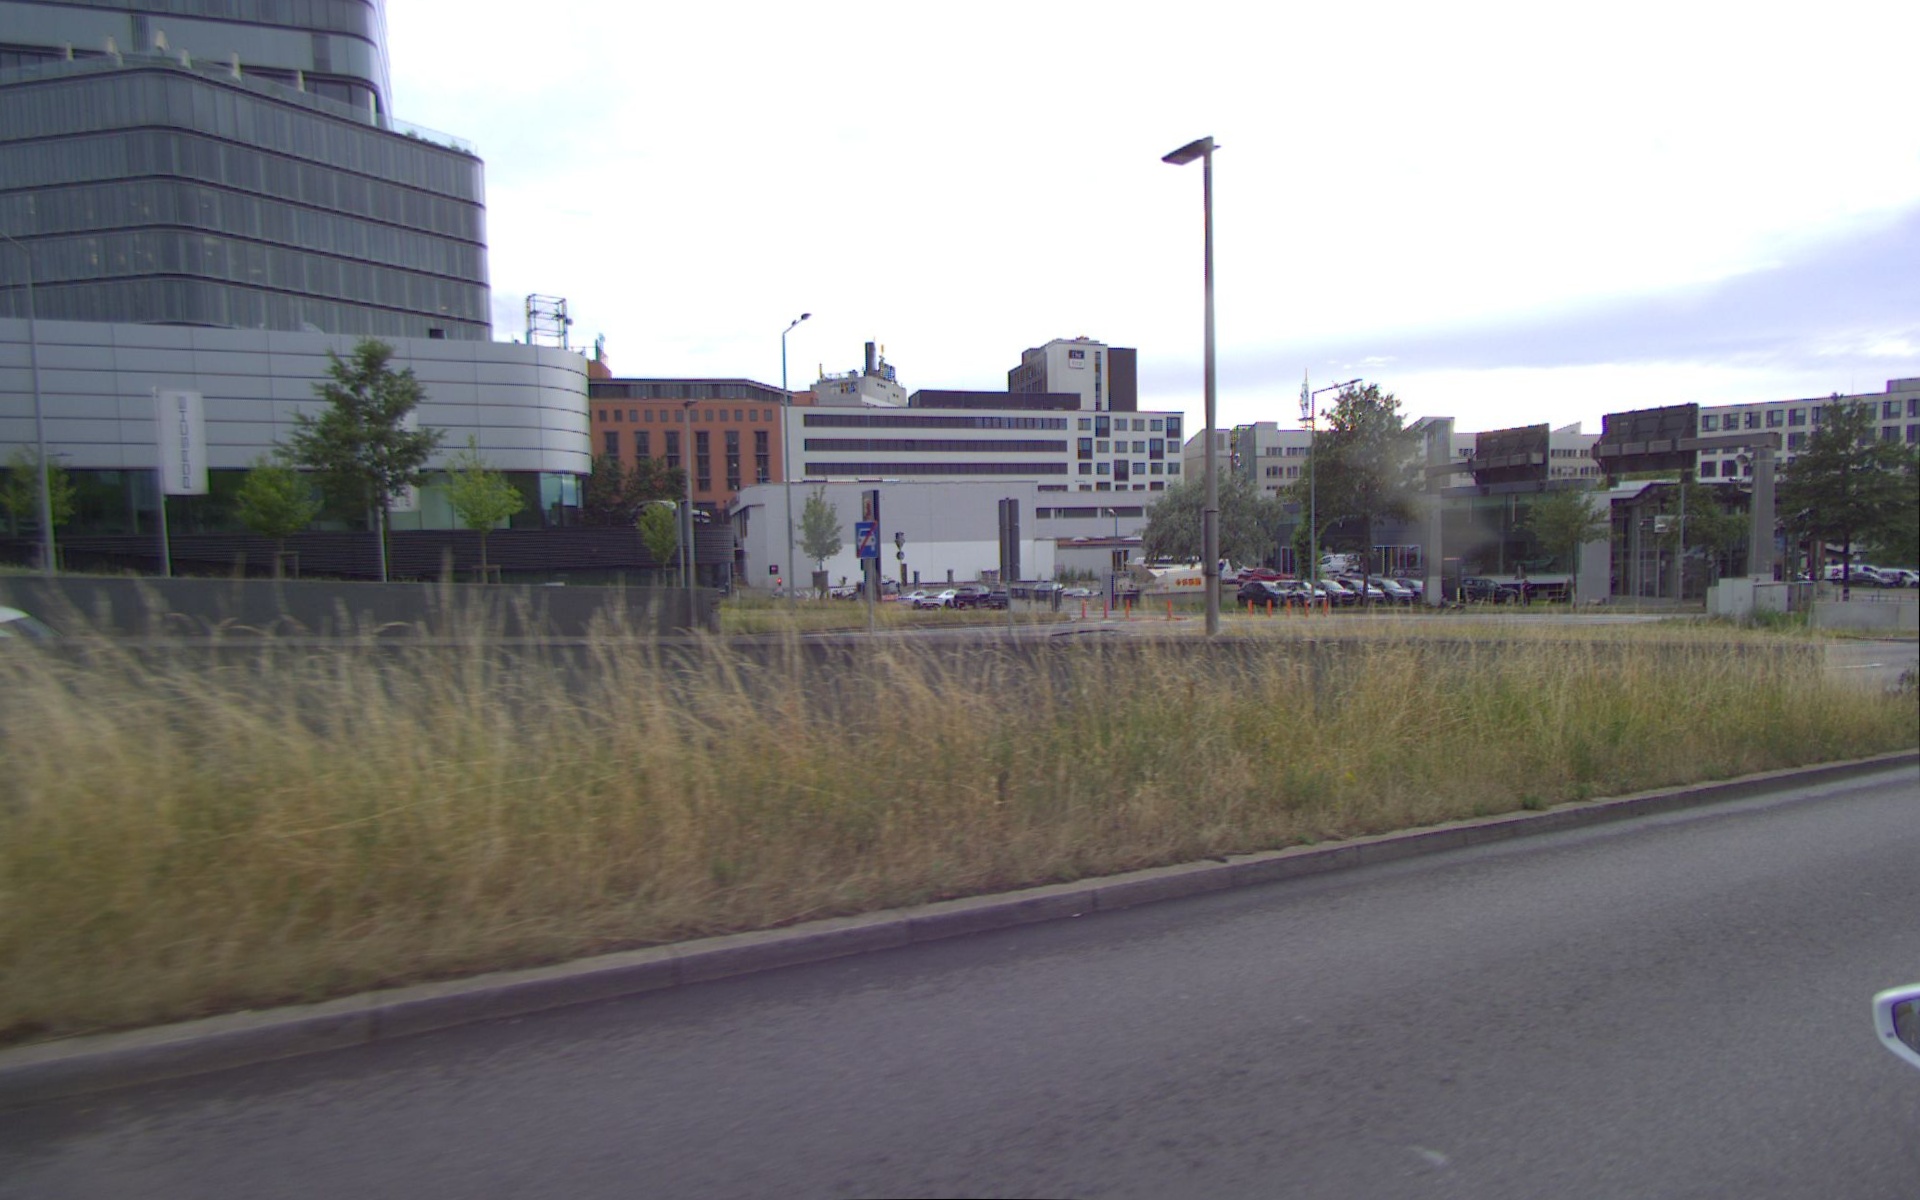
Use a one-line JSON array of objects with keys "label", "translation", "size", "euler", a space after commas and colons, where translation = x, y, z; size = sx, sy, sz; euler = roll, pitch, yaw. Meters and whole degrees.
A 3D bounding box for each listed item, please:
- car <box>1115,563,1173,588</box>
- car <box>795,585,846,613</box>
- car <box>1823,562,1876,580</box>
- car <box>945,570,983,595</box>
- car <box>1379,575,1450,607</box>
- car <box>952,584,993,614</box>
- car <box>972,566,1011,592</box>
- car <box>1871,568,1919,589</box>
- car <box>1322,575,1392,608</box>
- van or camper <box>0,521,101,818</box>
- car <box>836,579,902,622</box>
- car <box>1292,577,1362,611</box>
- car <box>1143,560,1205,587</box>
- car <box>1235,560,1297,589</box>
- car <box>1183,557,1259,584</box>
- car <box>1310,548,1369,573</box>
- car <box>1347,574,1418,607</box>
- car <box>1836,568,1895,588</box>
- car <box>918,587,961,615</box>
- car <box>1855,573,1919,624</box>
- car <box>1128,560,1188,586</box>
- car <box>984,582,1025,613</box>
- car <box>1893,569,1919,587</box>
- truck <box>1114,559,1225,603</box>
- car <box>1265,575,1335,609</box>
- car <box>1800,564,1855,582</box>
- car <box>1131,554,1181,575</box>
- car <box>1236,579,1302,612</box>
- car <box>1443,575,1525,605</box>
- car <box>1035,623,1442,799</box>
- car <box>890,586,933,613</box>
[{"label": "car", "translation": [14.054, -1.908, 76.898], "size": [3.936, 1.707, 1.915], "euler": [-2, 5, -17]}, {"label": "car", "translation": [-10.260, -0.121, 73.752], "size": [1.981, 1.707, 3.957], "euler": [-5, 6, -36]}, {"label": "car", "translation": [98.858, -3.217, 111.615], "size": [1.796, 1.674, 3.973], "euler": [-3, 6, -25]}, {"label": "car", "translation": [0.360, -1.470, 82.330], "size": [1.960, 1.729, 3.999], "euler": [1, 5, 19]}, {"label": "car", "translation": [29.041, -0.595, 64.312], "size": [1.895, 1.707, 3.978], "euler": [-3, 6, -21]}, {"label": "car", "translation": [0.960, -0.102, 74.586], "size": [1.960, 1.908, 3.999], "euler": [1, 5, 19]}, {"label": "car", "translation": [2.543, -1.715, 80.131], "size": [1.960, 1.729, 3.999], "euler": [1, 5, 19]}, {"label": "car", "translation": [96.812, -2.220, 103.380], "size": [1.968, 1.902, 3.984], "euler": [-2, 5, -17]}, {"label": "car", "translation": [24.674, -0.541, 62.577], "size": [1.895, 1.707, 3.978], "euler": [-3, 6, -21]}, {"label": "van or camper", "translation": [-10.670, 0.521, 8.007], "size": [5.466, 2.472, 2.193], "euler": [1, 1, -30]}, {"label": "car", "translation": [-6.372, -0.017, 69.739], "size": [2.505, 2.524, 5.107], "euler": [-4, 6, -32]}, {"label": "car", "translation": [22.480, -0.421, 61.640], "size": [1.895, 1.707, 3.978], "euler": [-3, 6, -21]}, {"label": "car", "translation": [15.341, -1.892, 72.004], "size": [3.936, 1.707, 1.915], "euler": [-2, 5, -17]}, {"label": "car", "translation": [22.277, -1.883, 73.237], "size": [3.935, 1.908, 1.900], "euler": [-2, 5, -17]}, {"label": "car", "translation": [20.375, -2.313, 78.439], "size": [5.446, 1.907, 1.992], "euler": [0, 5, -17]}, {"label": "car", "translation": [29.866, -3.152, 79.170], "size": [3.937, 1.807, 1.915], "euler": [3, 7, 38]}, {"label": "car", "translation": [26.691, -0.650, 63.542], "size": [1.895, 1.707, 3.978], "euler": [-3, 6, -21]}, {"label": "car", "translation": [91.964, -2.245, 102.064], "size": [1.972, 1.674, 3.975], "euler": [-3, 6, -24]}, {"label": "car", "translation": [-1.513, 0.042, 75.297], "size": [1.960, 1.707, 3.999], "euler": [1, 5, 19]}, {"label": "car", "translation": [35.576, -0.090, 37.690], "size": [3.500, 1.612, 1.682], "euler": [-3, 6, -25]}, {"label": "car", "translation": [14.732, -2.017, 74.826], "size": [3.936, 1.707, 1.915], "euler": [-2, 5, -17]}, {"label": "car", "translation": [3.282, -0.230, 72.959], "size": [1.960, 1.908, 3.999], "euler": [1, 5, 19]}, {"label": "car", "translation": [101.478, -2.306, 106.005], "size": [1.968, 1.674, 3.984], "euler": [-2, 5, -17]}, {"label": "truck", "translation": [14.242, -1.350, 68.171], "size": [7.299, 2.563, 2.362], "euler": [-3, 6, -21]}, {"label": "car", "translation": [20.475, -0.539, 60.629], "size": [1.895, 1.707, 3.978], "euler": [-3, 6, -21]}, {"label": "car", "translation": [93.607, -2.970, 108.421], "size": [1.972, 1.674, 3.975], "euler": [-3, 6, -24]}, {"label": "car", "translation": [17.198, -3.128, 88.302], "size": [3.936, 1.707, 1.915], "euler": [-2, 5, -17]}, {"label": "car", "translation": [18.379, -0.293, 59.940], "size": [1.674, 1.622, 3.992], "euler": [-3, 6, -21]}, {"label": "car", "translation": [34.438, -0.673, 66.122], "size": [4.416, 1.707, 1.921], "euler": [-1, 5, -4]}, {"label": "car", "translation": [3.371, 1.173, 12.034], "size": [4.685, 1.639, 1.745], "euler": [0, 3, -26]}, {"label": "car", "translation": [-3.678, -0.085, 76.987], "size": [1.960, 1.707, 3.999], "euler": [1, 5, 19]}]
